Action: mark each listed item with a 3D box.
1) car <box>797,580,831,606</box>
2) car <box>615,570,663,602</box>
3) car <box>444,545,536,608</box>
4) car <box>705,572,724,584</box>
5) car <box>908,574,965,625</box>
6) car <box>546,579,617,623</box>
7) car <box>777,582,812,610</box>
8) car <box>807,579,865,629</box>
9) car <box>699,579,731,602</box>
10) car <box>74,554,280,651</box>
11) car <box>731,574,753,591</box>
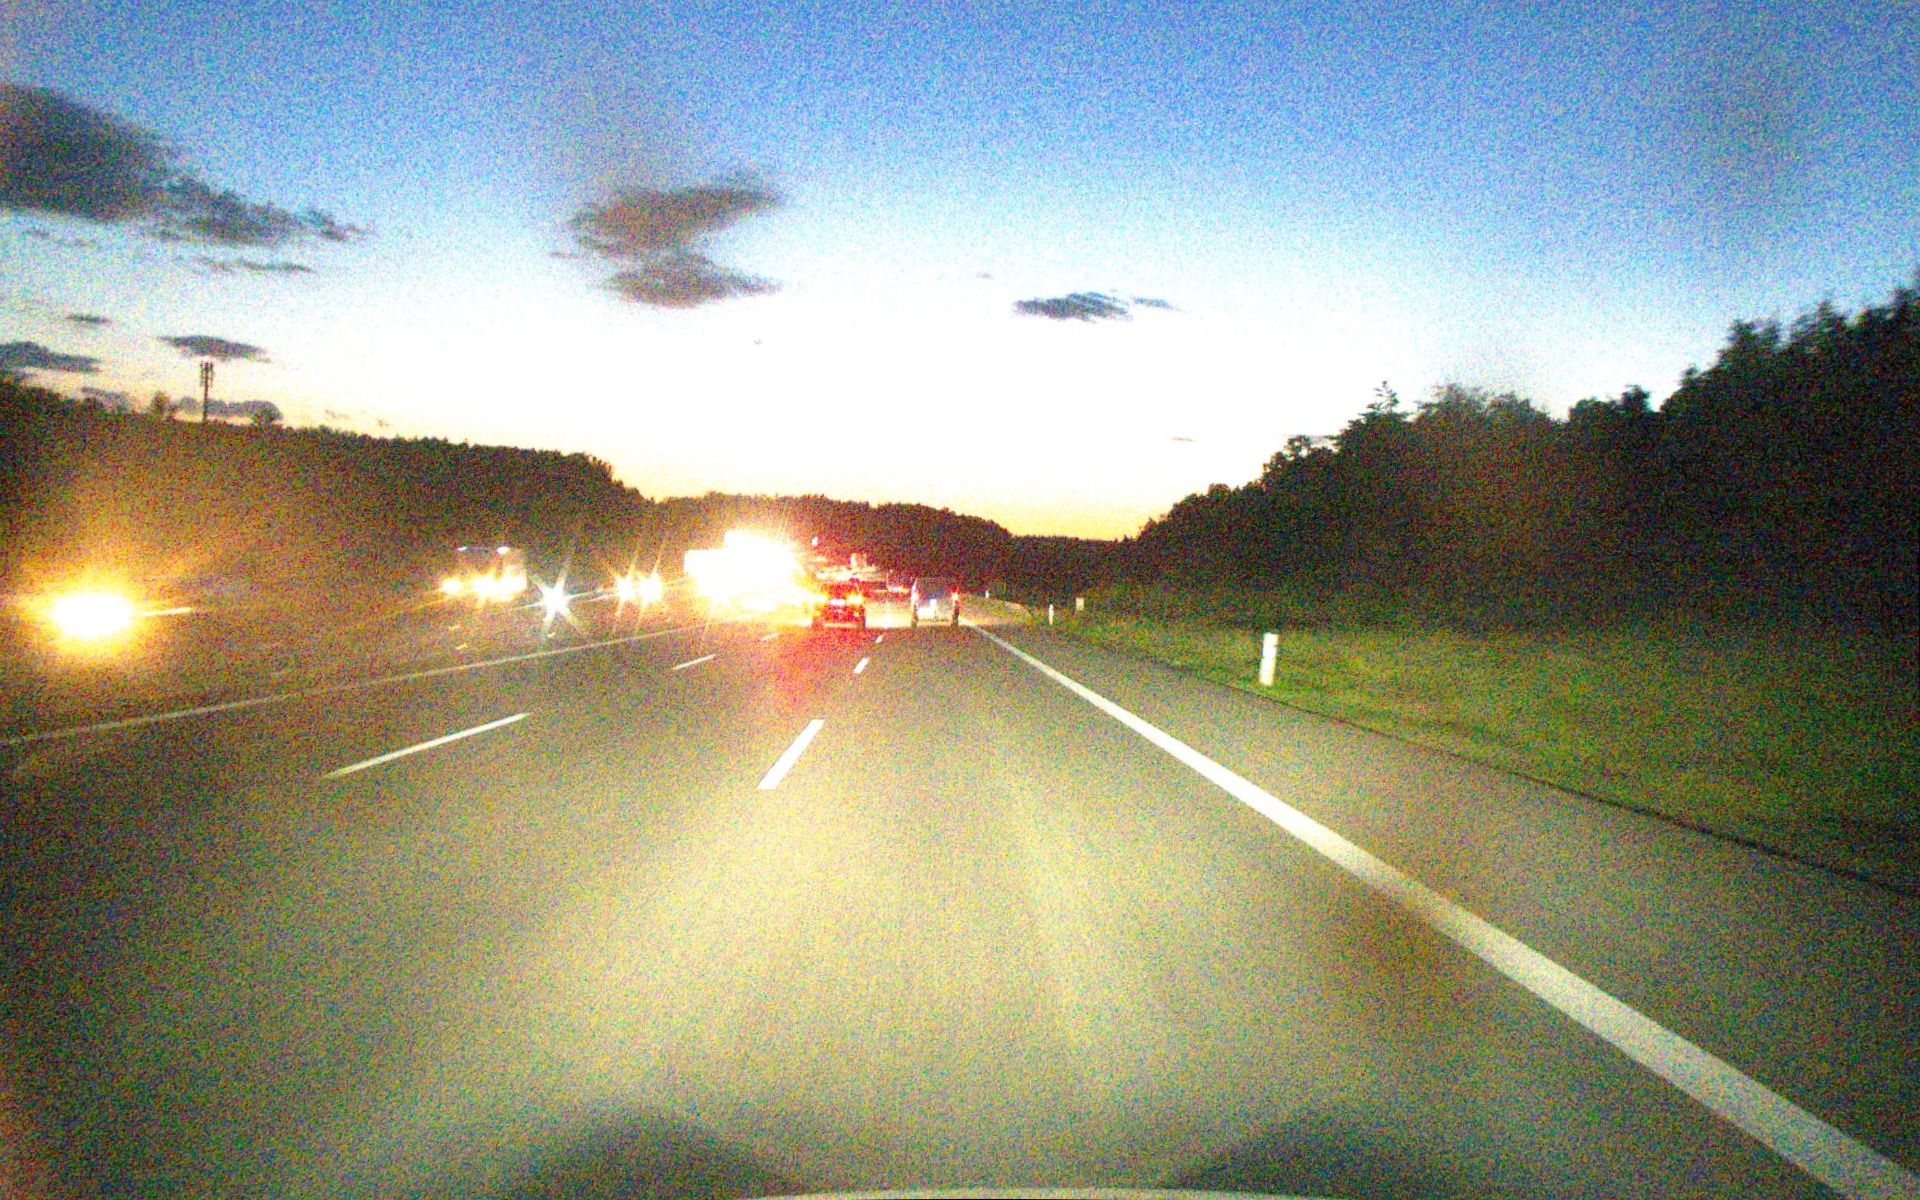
[{"bbox_3d":[-9.591,-0.461,109.132,1.744,1.512,5.253,4,1,0],"label":"car"},{"bbox_3d":[-20.613,-0.893,106.515,2.102,1.918,5.423,1,0,-1],"label":"car"},{"bbox_3d":[-23.805,-1.181,84.182,2.408,2.987,8.330,1,0,-2],"label":"car"},{"bbox_3d":[-30.884,-2.793,207.956,1.738,1.454,4.658,1,0,-2],"label":"car"},{"bbox_3d":[-1.011,-0.051,68.688,2.153,1.989,4.761,0,1,-3],"label":"car"},{"bbox_3d":[-16.087,0.043,70.498,1.953,1.764,4.658,1,0,-1],"label":"car"},{"bbox_3d":[-9.174,-0.226,92.079,1.518,1.456,5.513,1,0,-1],"label":"car"},{"bbox_3d":[-4.607,0.134,62.048,1.953,1.751,5.940,0,0,-2],"label":"car"},{"bbox_3d":[-19.574,-0.797,132.275,1.953,1.764,4.658,1,0,-2],"label":"car"},{"bbox_3d":[-15.636,0.036,33.344,1.953,1.764,4.658,1,0,-1],"label":"car"},{"bbox_3d":[-25.572,-2.104,194.539,2.062,1.918,4.658,1,0,-2],"label":"car"}]
